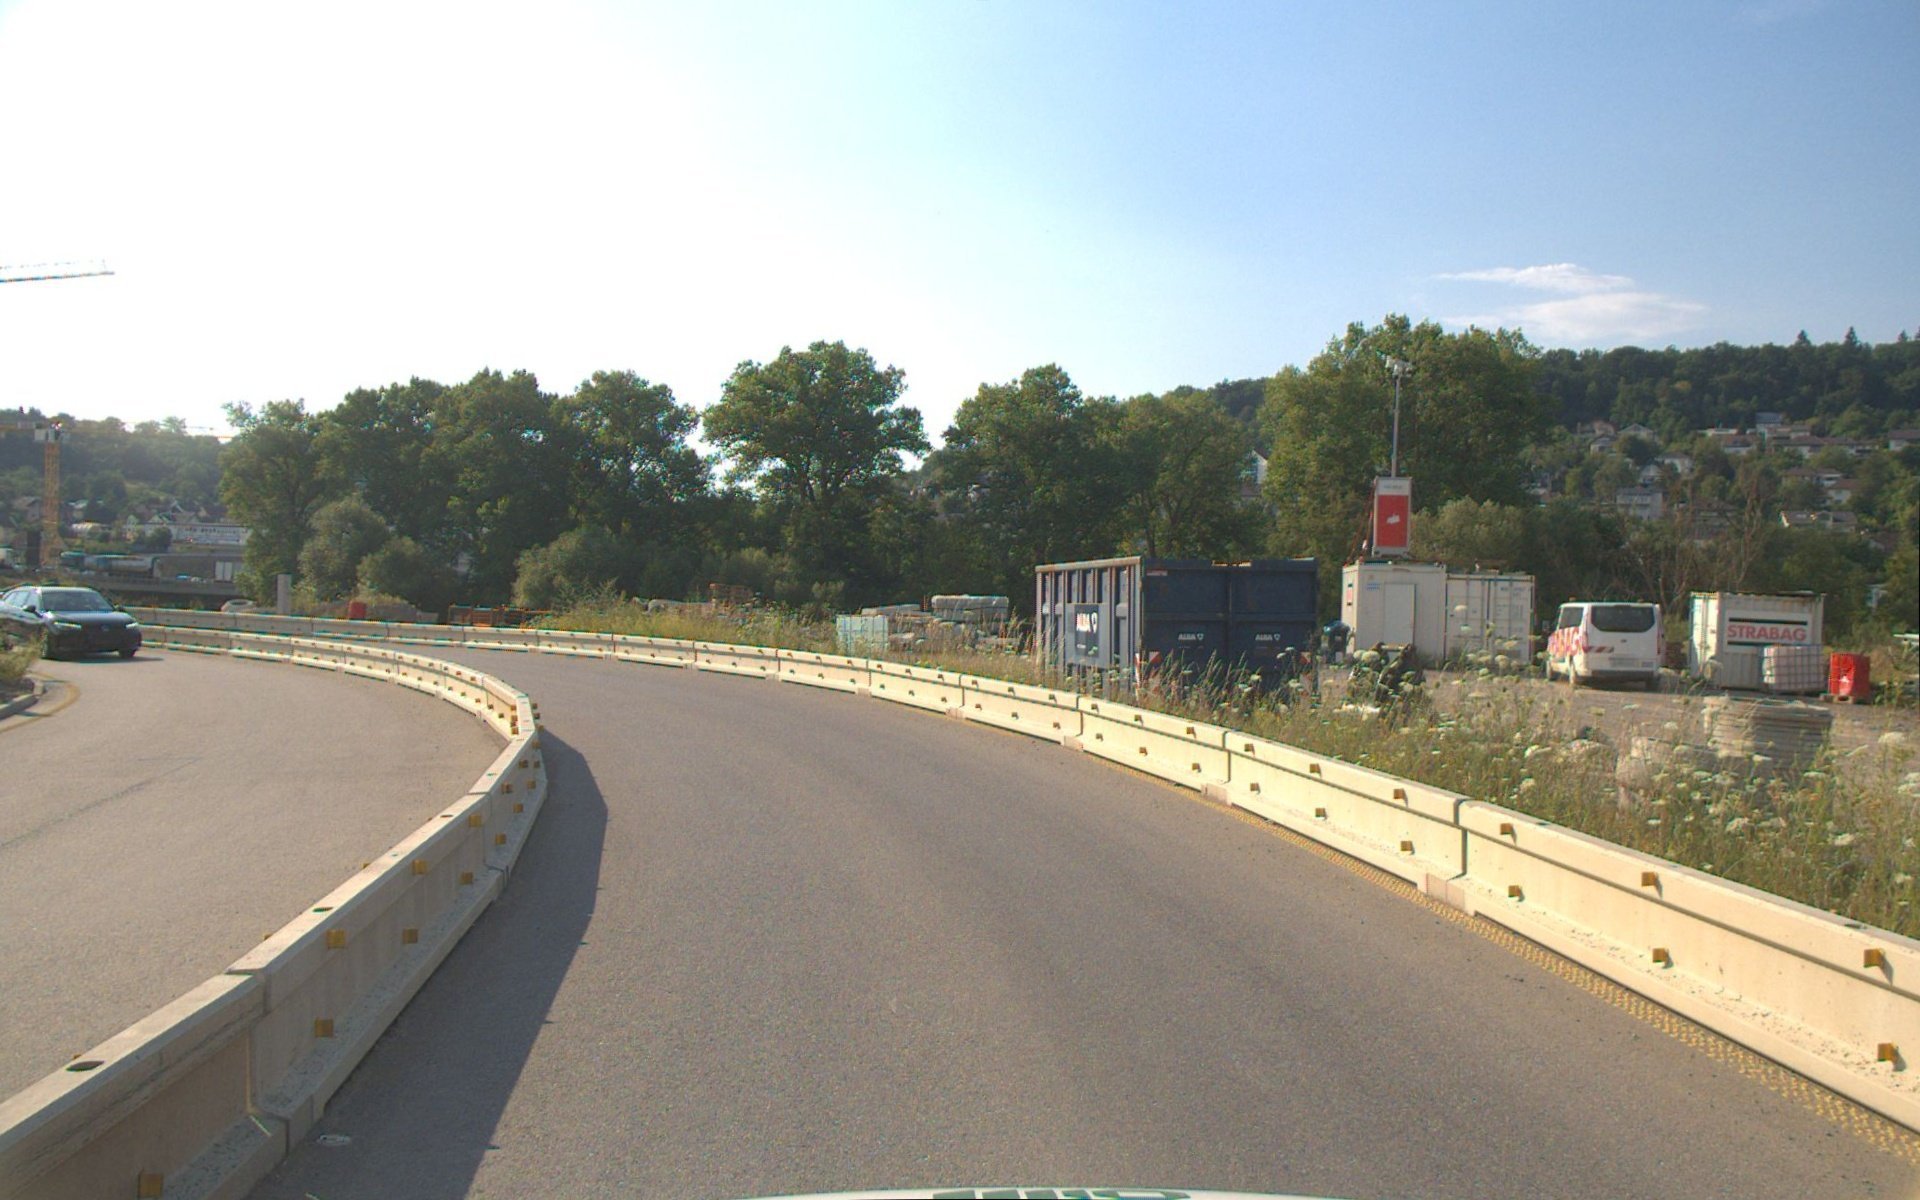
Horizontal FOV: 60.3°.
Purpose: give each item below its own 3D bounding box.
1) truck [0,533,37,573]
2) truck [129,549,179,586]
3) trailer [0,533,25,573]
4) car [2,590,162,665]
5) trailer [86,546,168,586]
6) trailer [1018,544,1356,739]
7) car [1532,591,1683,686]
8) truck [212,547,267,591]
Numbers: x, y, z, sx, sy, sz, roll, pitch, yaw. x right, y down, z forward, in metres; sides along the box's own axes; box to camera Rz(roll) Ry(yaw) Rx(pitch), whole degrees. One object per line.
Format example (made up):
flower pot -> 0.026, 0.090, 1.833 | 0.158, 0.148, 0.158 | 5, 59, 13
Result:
truck -> -100.872, -4.984, 174.416 | 3.322, 4.066, 6.621 | 2, 0, -2
truck -> -101.437, -4.076, 208.202 | 3.036, 4.360, 6.621 | 2, 0, -2
trailer -> -100.660, -4.992, 167.994 | 3.317, 4.066, 14.739 | 2, 0, -2
car -> -19.251, 0.567, 36.168 | 4.435, 1.545, 1.705 | 0, 0, 42
trailer -> -101.213, -4.110, 201.312 | 3.041, 4.389, 14.246 | 2, 0, -2
trailer -> 3.117, 0.561, 25.157 | 2.949, 2.456, 7.210 | 2, 0, -10
car -> 15.638, 0.883, 40.273 | 2.426, 2.115, 5.324 | 1, 0, 10
truck -> -101.925, -4.362, 234.241 | 3.100, 5.973, 10.673 | 1, 0, -1
